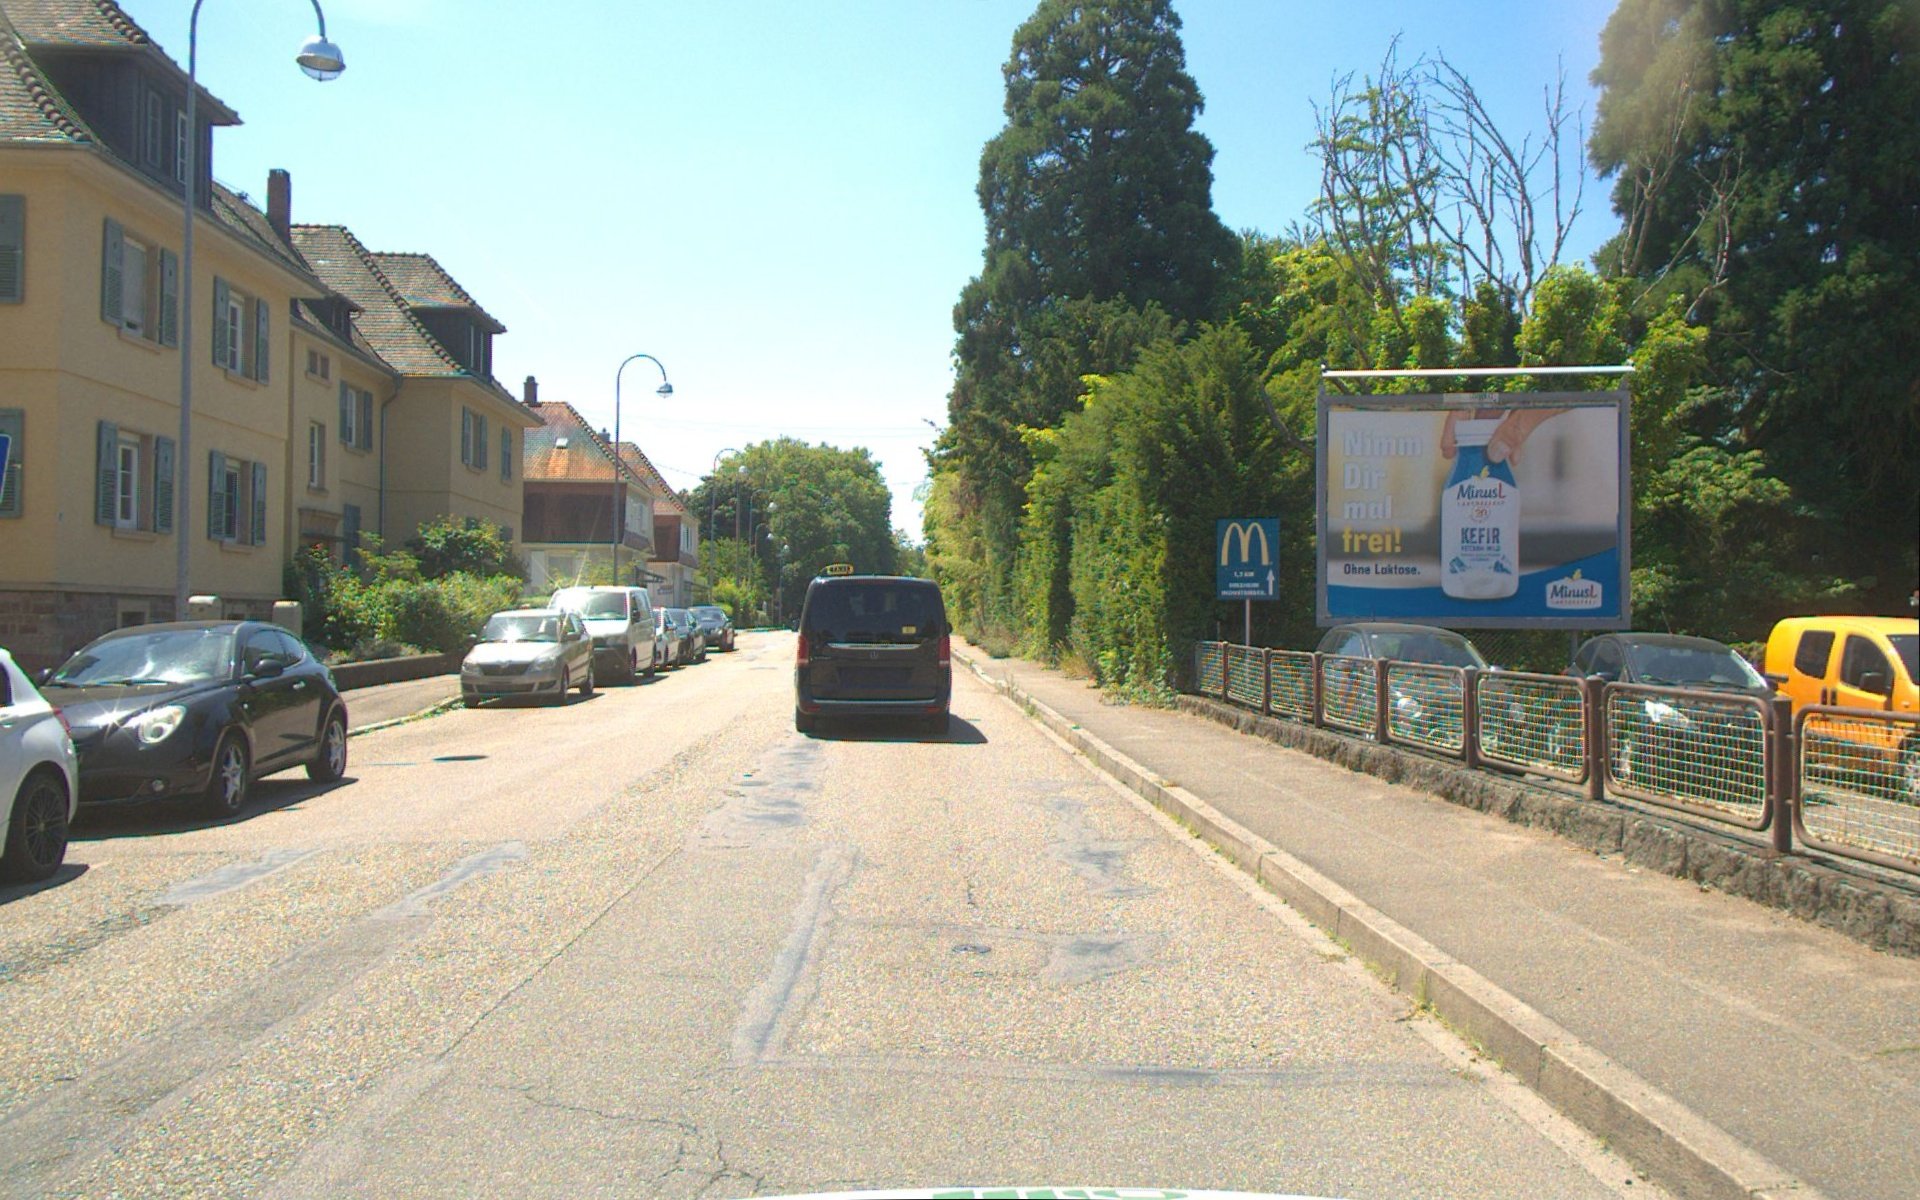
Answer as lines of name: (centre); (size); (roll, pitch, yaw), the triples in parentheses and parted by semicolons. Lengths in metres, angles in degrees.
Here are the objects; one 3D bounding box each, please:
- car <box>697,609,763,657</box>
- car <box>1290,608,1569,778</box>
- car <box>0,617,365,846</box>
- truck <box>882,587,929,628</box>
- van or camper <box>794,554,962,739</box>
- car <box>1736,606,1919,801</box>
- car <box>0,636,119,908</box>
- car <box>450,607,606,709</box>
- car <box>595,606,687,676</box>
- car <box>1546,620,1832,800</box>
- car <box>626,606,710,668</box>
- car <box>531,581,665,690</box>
car: (-7.360, 1.041, 53.284); (1.632, 1.410, 4.378); (-2, 0, -2)
car: (4.754, 0.886, 17.238); (1.599, 1.484, 3.553); (4, -1, -4)
car: (-6.247, 0.924, 13.285); (1.682, 1.511, 4.073); (-2, -1, -4)
truck: (-3.224, 0.454, 96.388); (2.310, 2.298, 6.083); (0, -1, -6)
van or camper: (-1.041, 0.548, 21.311); (1.864, 2.049, 5.267); (1, -1, -3)
car: (9.813, 1.036, 16.698); (1.740, 1.831, 4.163); (4, -1, -3)
car: (-5.944, 0.936, 8.036); (1.759, 1.426, 4.215); (-1, -1, -4)
car: (-7.076, 0.900, 27.464); (1.653, 1.552, 4.060); (0, 0, -2)
car: (-7.538, 0.937, 39.348); (1.633, 1.519, 3.476); (-2, 0, -3)
car: (7.408, 1.054, 17.154); (1.597, 1.570, 3.394); (4, -1, 4)
car: (-7.629, 0.936, 43.555); (1.632, 1.519, 4.463); (0, 0, -3)
car: (-7.293, 0.675, 33.738); (1.840, 1.997, 4.623); (-2, 0, -3)
